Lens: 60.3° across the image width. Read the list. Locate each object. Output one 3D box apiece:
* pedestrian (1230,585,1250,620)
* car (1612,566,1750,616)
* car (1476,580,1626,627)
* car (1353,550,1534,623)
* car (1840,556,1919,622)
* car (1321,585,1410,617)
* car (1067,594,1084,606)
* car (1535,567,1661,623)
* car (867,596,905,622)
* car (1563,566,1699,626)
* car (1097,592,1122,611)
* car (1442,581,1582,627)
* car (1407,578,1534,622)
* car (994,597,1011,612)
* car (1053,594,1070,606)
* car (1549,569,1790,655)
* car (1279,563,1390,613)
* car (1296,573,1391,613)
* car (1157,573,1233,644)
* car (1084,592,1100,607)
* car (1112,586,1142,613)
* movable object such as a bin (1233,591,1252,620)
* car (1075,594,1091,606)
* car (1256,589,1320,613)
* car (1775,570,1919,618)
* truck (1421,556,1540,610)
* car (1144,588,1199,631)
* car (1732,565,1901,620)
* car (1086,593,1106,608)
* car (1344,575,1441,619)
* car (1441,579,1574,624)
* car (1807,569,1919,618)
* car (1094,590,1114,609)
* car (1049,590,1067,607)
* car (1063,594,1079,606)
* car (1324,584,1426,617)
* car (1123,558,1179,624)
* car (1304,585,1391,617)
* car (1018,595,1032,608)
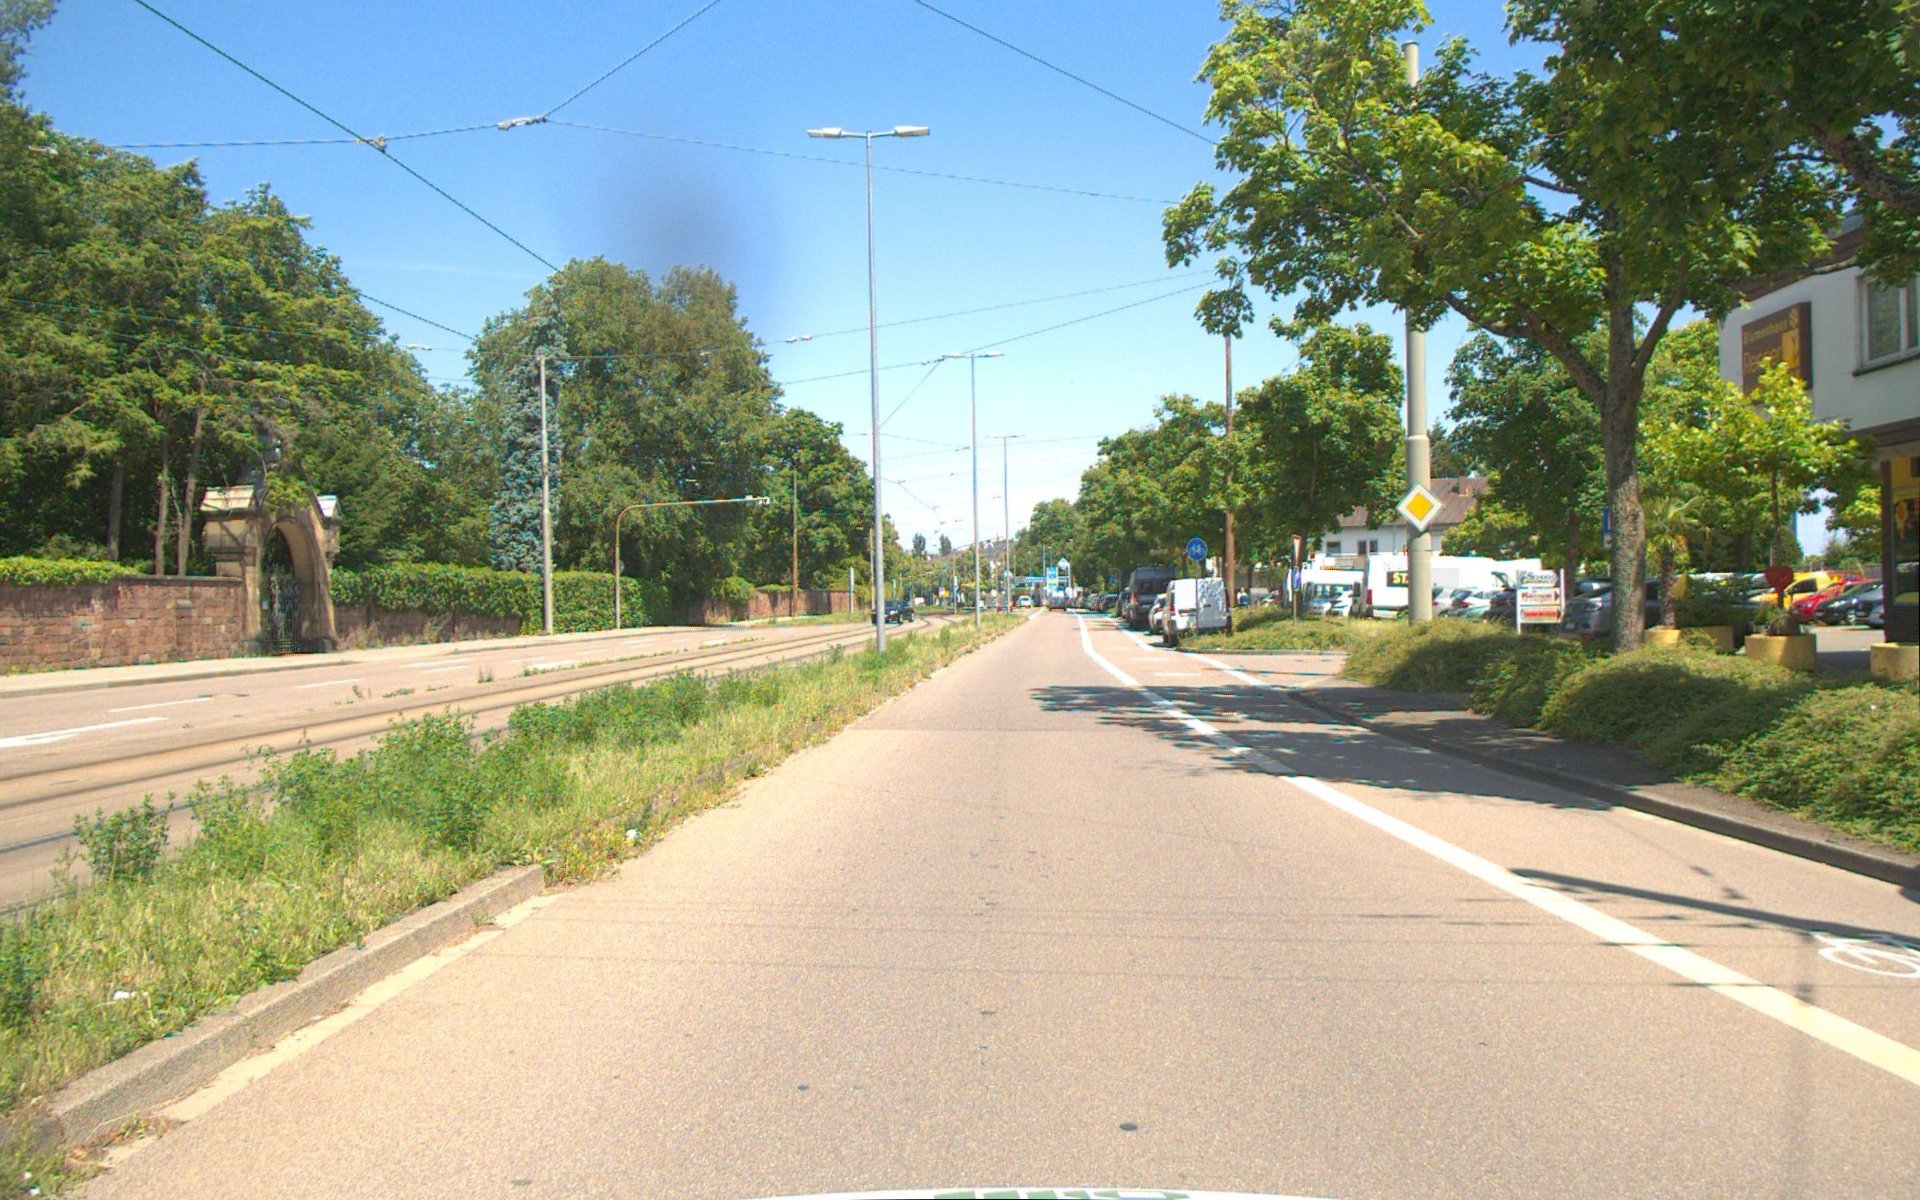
[{"bbox_3d":[13.373,0.104,79.027,0.788,1.653,0.943,-1,0,3],"label":"pedestrian"},{"bbox_3d":[31.110,-0.383,71.518,4.989,1.909,2.096,-3,0,4],"label":"car"},{"bbox_3d":[17.424,0.096,48.879,3.805,1.303,1.728,1,0,2],"label":"car"},{"bbox_3d":[18.100,-0.502,62.169,6.206,2.573,2.265,1,0,6],"label":"car"},{"bbox_3d":[29.991,-0.408,50.815,4.814,1.933,1.909,-3,0,3],"label":"car"},{"bbox_3d":[19.209,0.028,78.385,3.806,1.430,1.728,1,0,1],"label":"car"},{"bbox_3d":[16.375,-0.018,234.823,1.674,1.589,4.318,-3,0,-6],"label":"car"},{"bbox_3d":[31.806,-0.249,82.564,5.375,2.502,2.096,-3,0,4],"label":"car"},{"bbox_3d":[-4.326,0.502,97.408,1.718,1.474,4.125,1,0,5],"label":"car"},{"bbox_3d":[31.024,-0.194,76.629,5.375,2.502,2.096,-3,0,4],"label":"car"},{"bbox_3d":[12.728,0.139,141.110,1.803,1.461,4.825,-3,0,1],"label":"car"},{"bbox_3d":[17.220,0.125,51.732,3.805,1.348,1.728,1,0,2],"label":"car"},{"bbox_3d":[17.453,0.010,56.621,3.808,1.404,1.727,1,0,-3],"label":"car"},{"bbox_3d":[4.371,0.458,169.829,1.671,1.438,4.283,-1,0,3],"label":"car"},{"bbox_3d":[15.387,-0.018,250.800,1.722,1.659,4.318,-3,0,-6],"label":"car"},{"bbox_3d":[14.310,0.236,33.527,4.054,1.639,1.944,-1,0,0],"label":"car"},{"bbox_3d":[19.582,-0.636,86.605,5.375,2.502,2.096,1,0,4],"label":"car"},{"bbox_3d":[19.342,-0.358,83.618,4.316,1.942,1.954,1,0,-1],"label":"car"},{"bbox_3d":[7.084,0.230,50.340,1.840,1.950,5.127,-3,0,4],"label":"car"},{"bbox_3d":[16.463,-0.080,206.727,1.802,1.723,4.780,-3,0,4],"label":"car"},{"bbox_3d":[11.012,-0.020,109.504,1.676,1.661,4.710,-3,-1,3],"label":"car"},{"bbox_3d":[13.328,0.256,78.097,0.776,1.376,0.889,-1,0,3],"label":"movable object such as a bin"},{"bbox_3d":[16.606,-0.019,223.608,1.672,1.518,5.037,-3,0,-1],"label":"car"},{"bbox_3d":[20.819,0.057,105.199,3.779,1.381,1.771,1,0,4],"label":"car"},{"bbox_3d":[31.337,-0.212,58.431,4.220,1.461,1.633,-3,0,4],"label":"car"},{"bbox_3d":[33.389,-1.080,106.202,6.802,3.139,2.425,-3,0,2],"label":"truck"},{"bbox_3d":[7.900,0.330,62.073,1.686,1.453,4.211,-3,0,4],"label":"car"},{"bbox_3d":[31.585,-0.273,61.112,5.045,1.783,2.096,-3,0,4],"label":"car"},{"bbox_3d":[15.285,0.059,185.564,1.803,1.556,4.966,-3,0,1],"label":"car"},{"bbox_3d":[18.964,-0.147,72.656,3.702,1.815,1.954,1,0,-1],"label":"car"},{"bbox_3d":[17.872,0.041,54.132,3.805,1.348,1.728,1,0,2],"label":"car"},{"bbox_3d":[31.107,-0.242,55.753,4.220,1.461,1.633,-3,0,4],"label":"car"},{"bbox_3d":[13.785,-0.073,158.690,1.802,1.736,4.629,-3,0,5],"label":"car"},{"bbox_3d":[9.864,-0.154,166.741,1.719,1.659,4.326,-3,0,3],"label":"car"},{"bbox_3d":[16.193,-0.006,240.761,1.673,1.589,4.320,-3,0,-4],"label":"car"},{"bbox_3d":[18.923,0.018,75.537,4.188,1.430,1.728,1,0,1],"label":"car"},{"bbox_3d":[8.434,-0.408,73.337,1.956,2.682,6.081,-3,0,3],"label":"car"},{"bbox_3d":[18.906,0.040,80.729,3.807,1.430,1.727,1,0,-1],"label":"car"},{"bbox_3d":[10.132,0.219,259.500,1.953,2.049,3.999,1,-1,-1],"label":"car"}]
